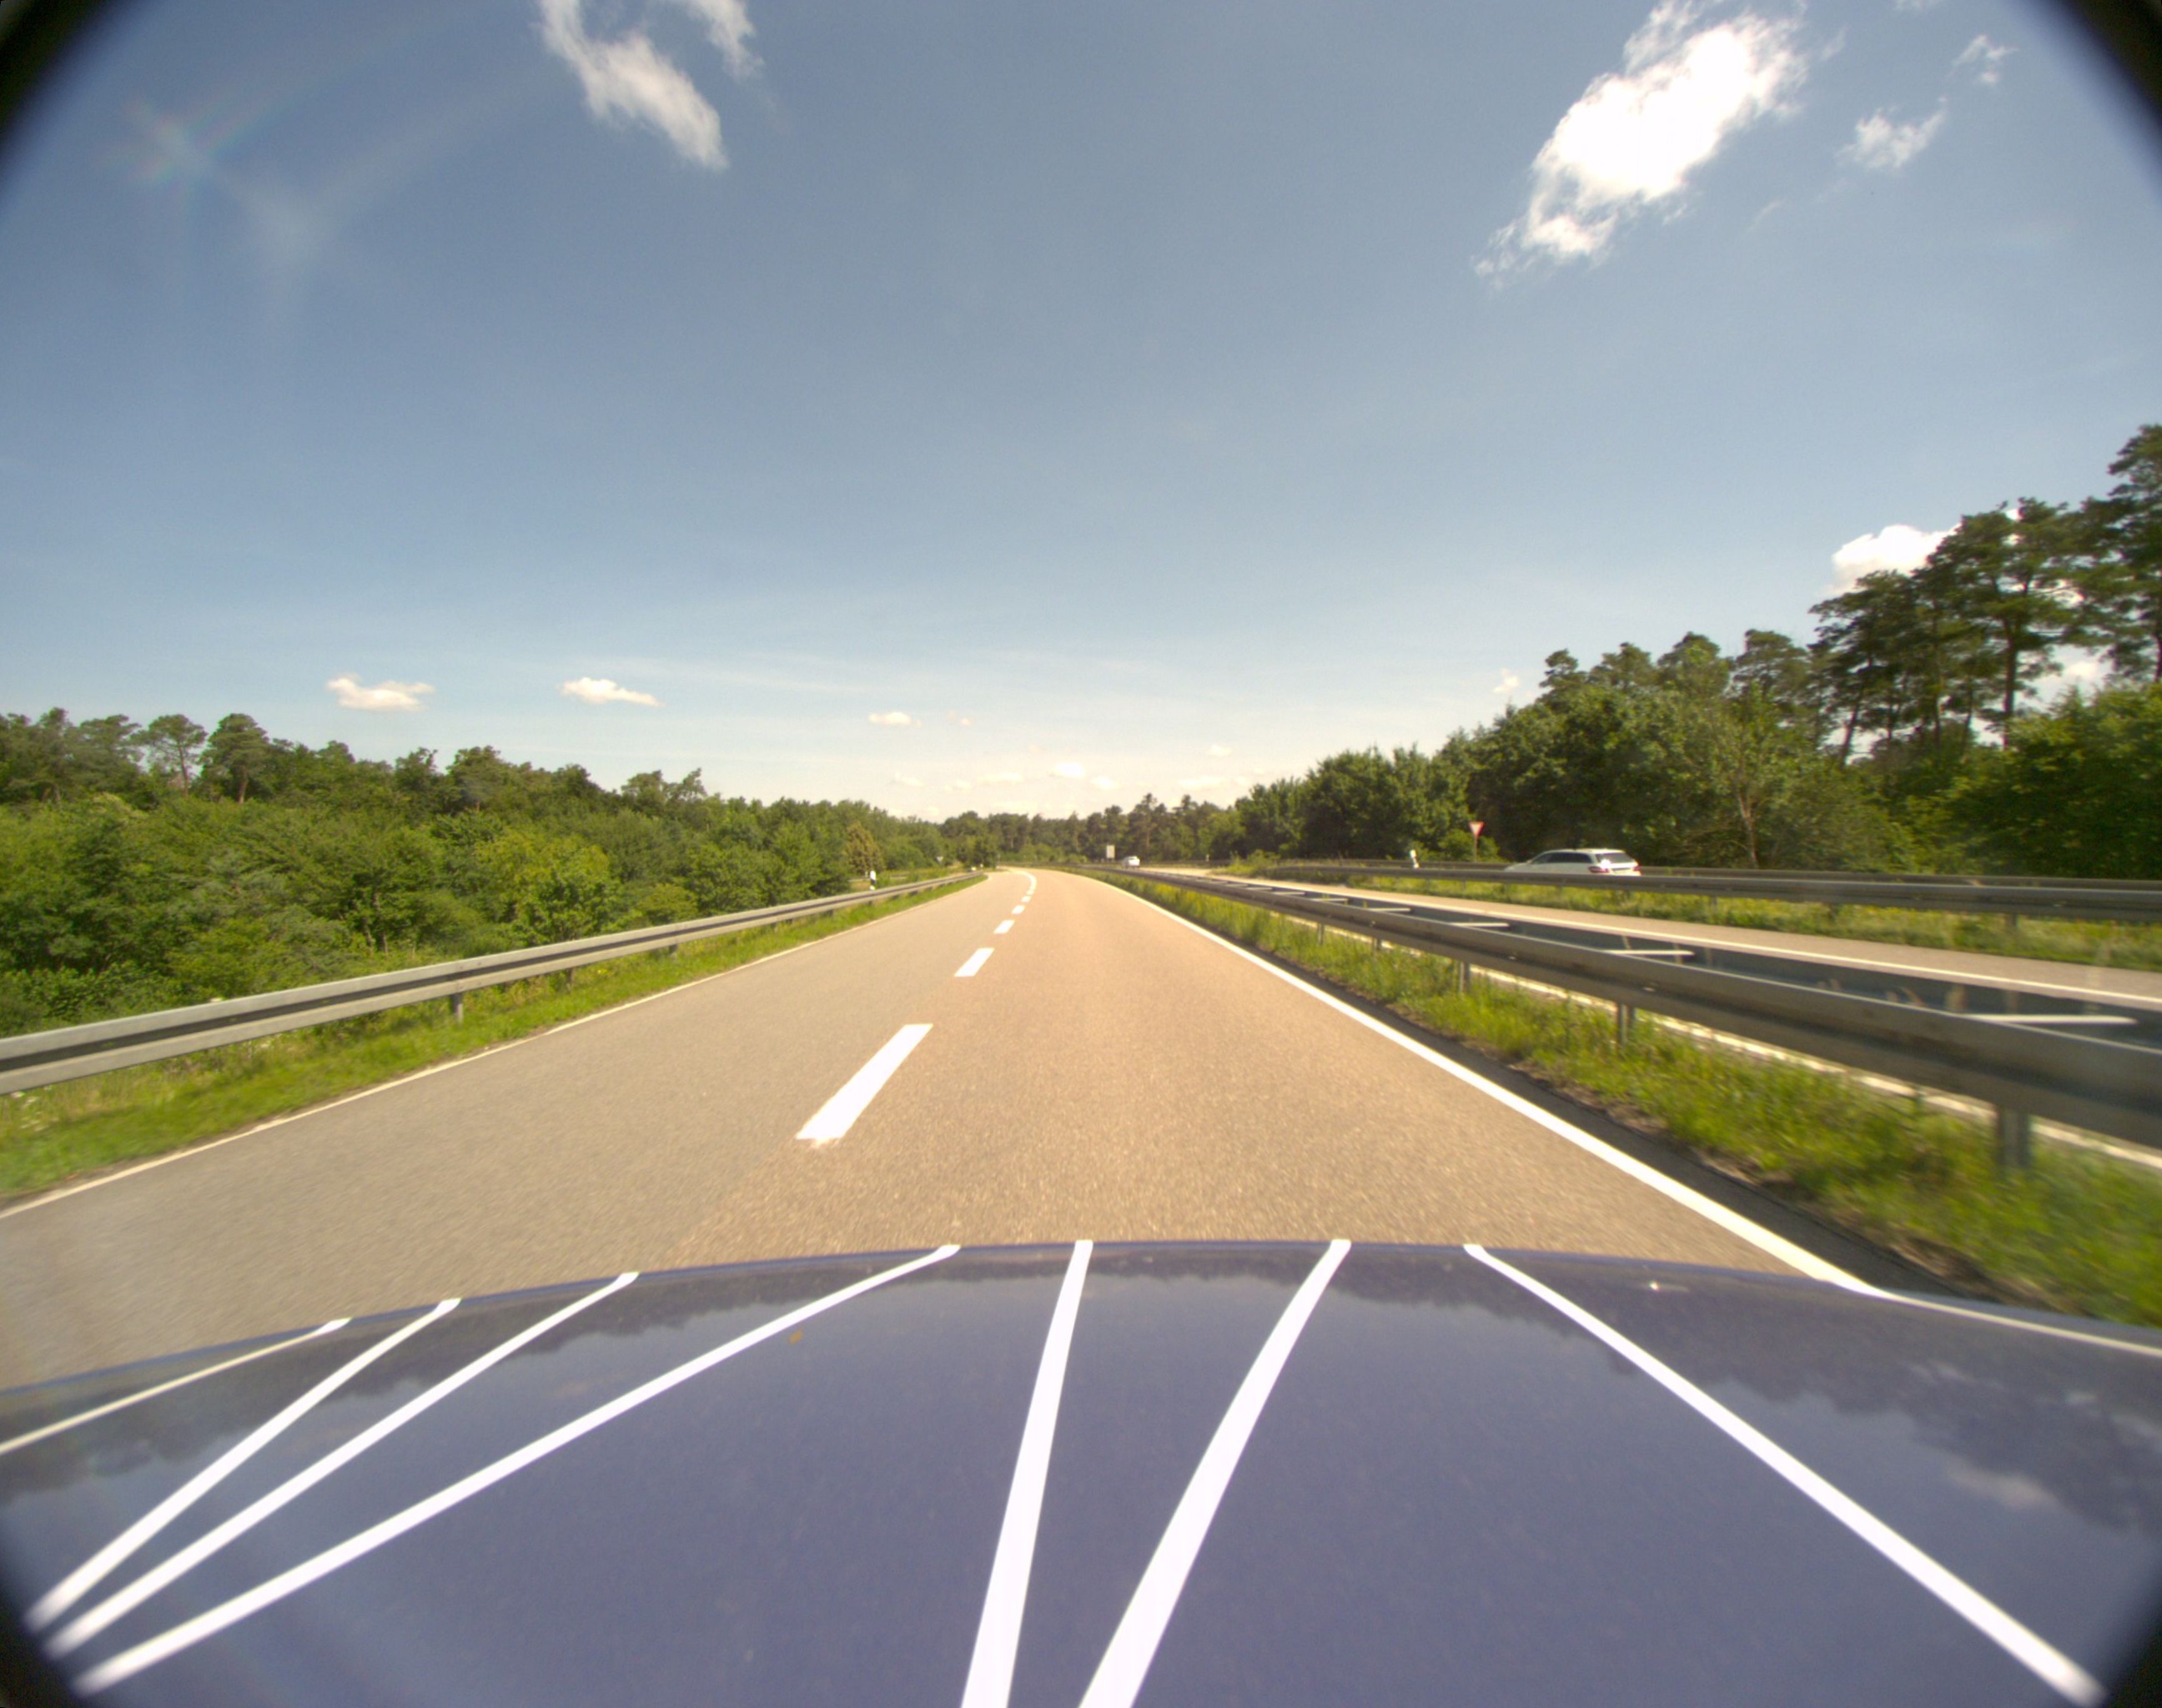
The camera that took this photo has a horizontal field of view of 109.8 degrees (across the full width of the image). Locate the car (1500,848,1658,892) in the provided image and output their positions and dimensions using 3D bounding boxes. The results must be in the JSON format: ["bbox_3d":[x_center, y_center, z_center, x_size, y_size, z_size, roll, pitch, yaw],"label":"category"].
[{"bbox_3d":[17.527,0.523,27.111,1.954,1.405,4.829,-1,0,-9],"label":"car"}]

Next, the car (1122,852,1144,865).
[{"bbox_3d":[6.368,0.573,93.521,1.684,1.419,4.208,-2,0,-9],"label":"car"}]
